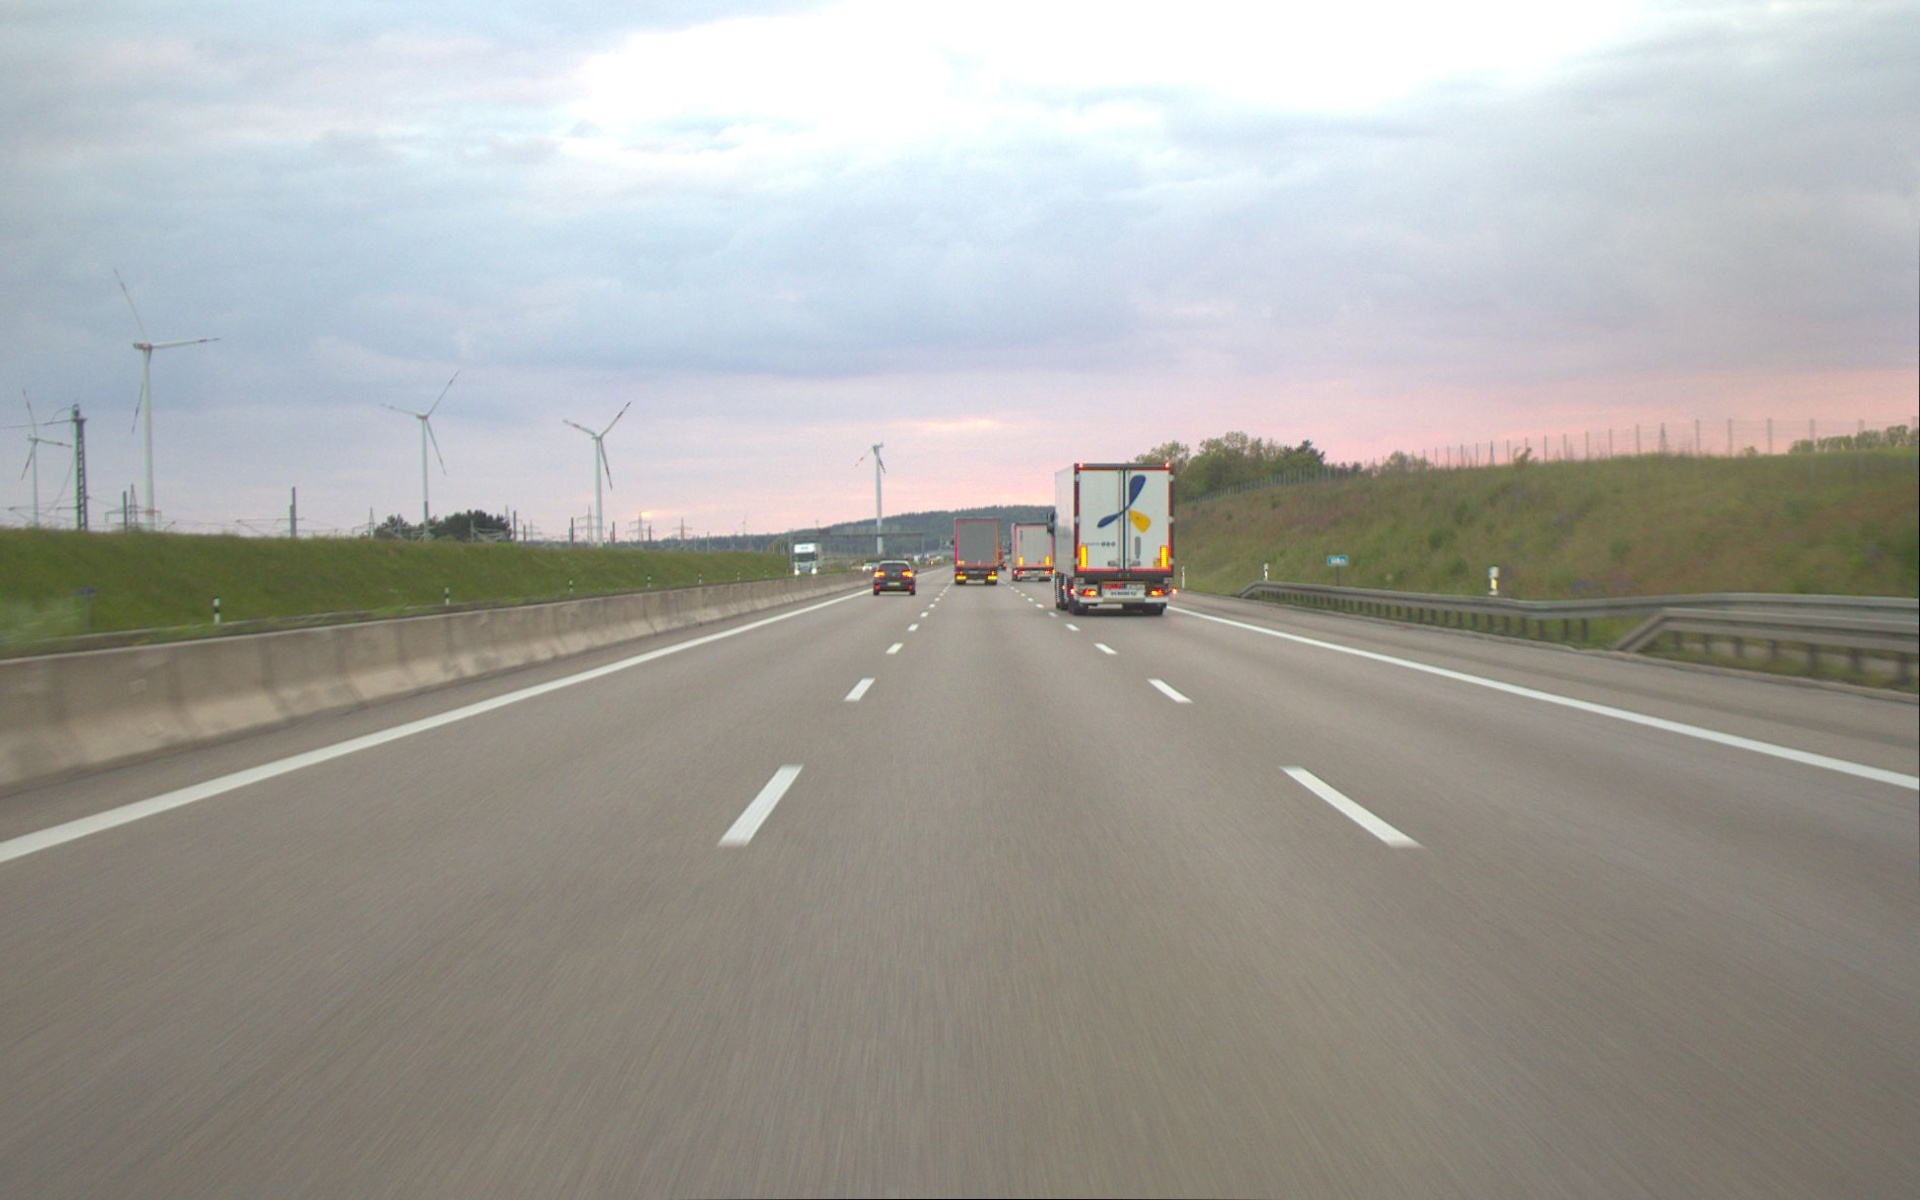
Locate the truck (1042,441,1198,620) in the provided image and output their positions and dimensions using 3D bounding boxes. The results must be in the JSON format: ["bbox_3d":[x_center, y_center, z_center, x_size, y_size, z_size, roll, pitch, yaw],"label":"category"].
[{"bbox_3d":[4.266,-1.905,94.252,3.675,4.549,10.981,-1,1,0],"label":"truck"}]

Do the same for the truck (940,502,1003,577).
[{"bbox_3d":[0.643,-3.600,204.601,3.647,4.399,8.636,0,1,0],"label":"truck"}]

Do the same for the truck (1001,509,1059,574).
[{"bbox_3d":[4.839,-4.051,239.237,3.966,4.399,8.636,0,1,1],"label":"truck"}]

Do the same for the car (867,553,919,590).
[{"bbox_3d":[-2.791,-1.200,144.271,1.987,1.425,4.000,-1,1,1],"label":"car"}]
